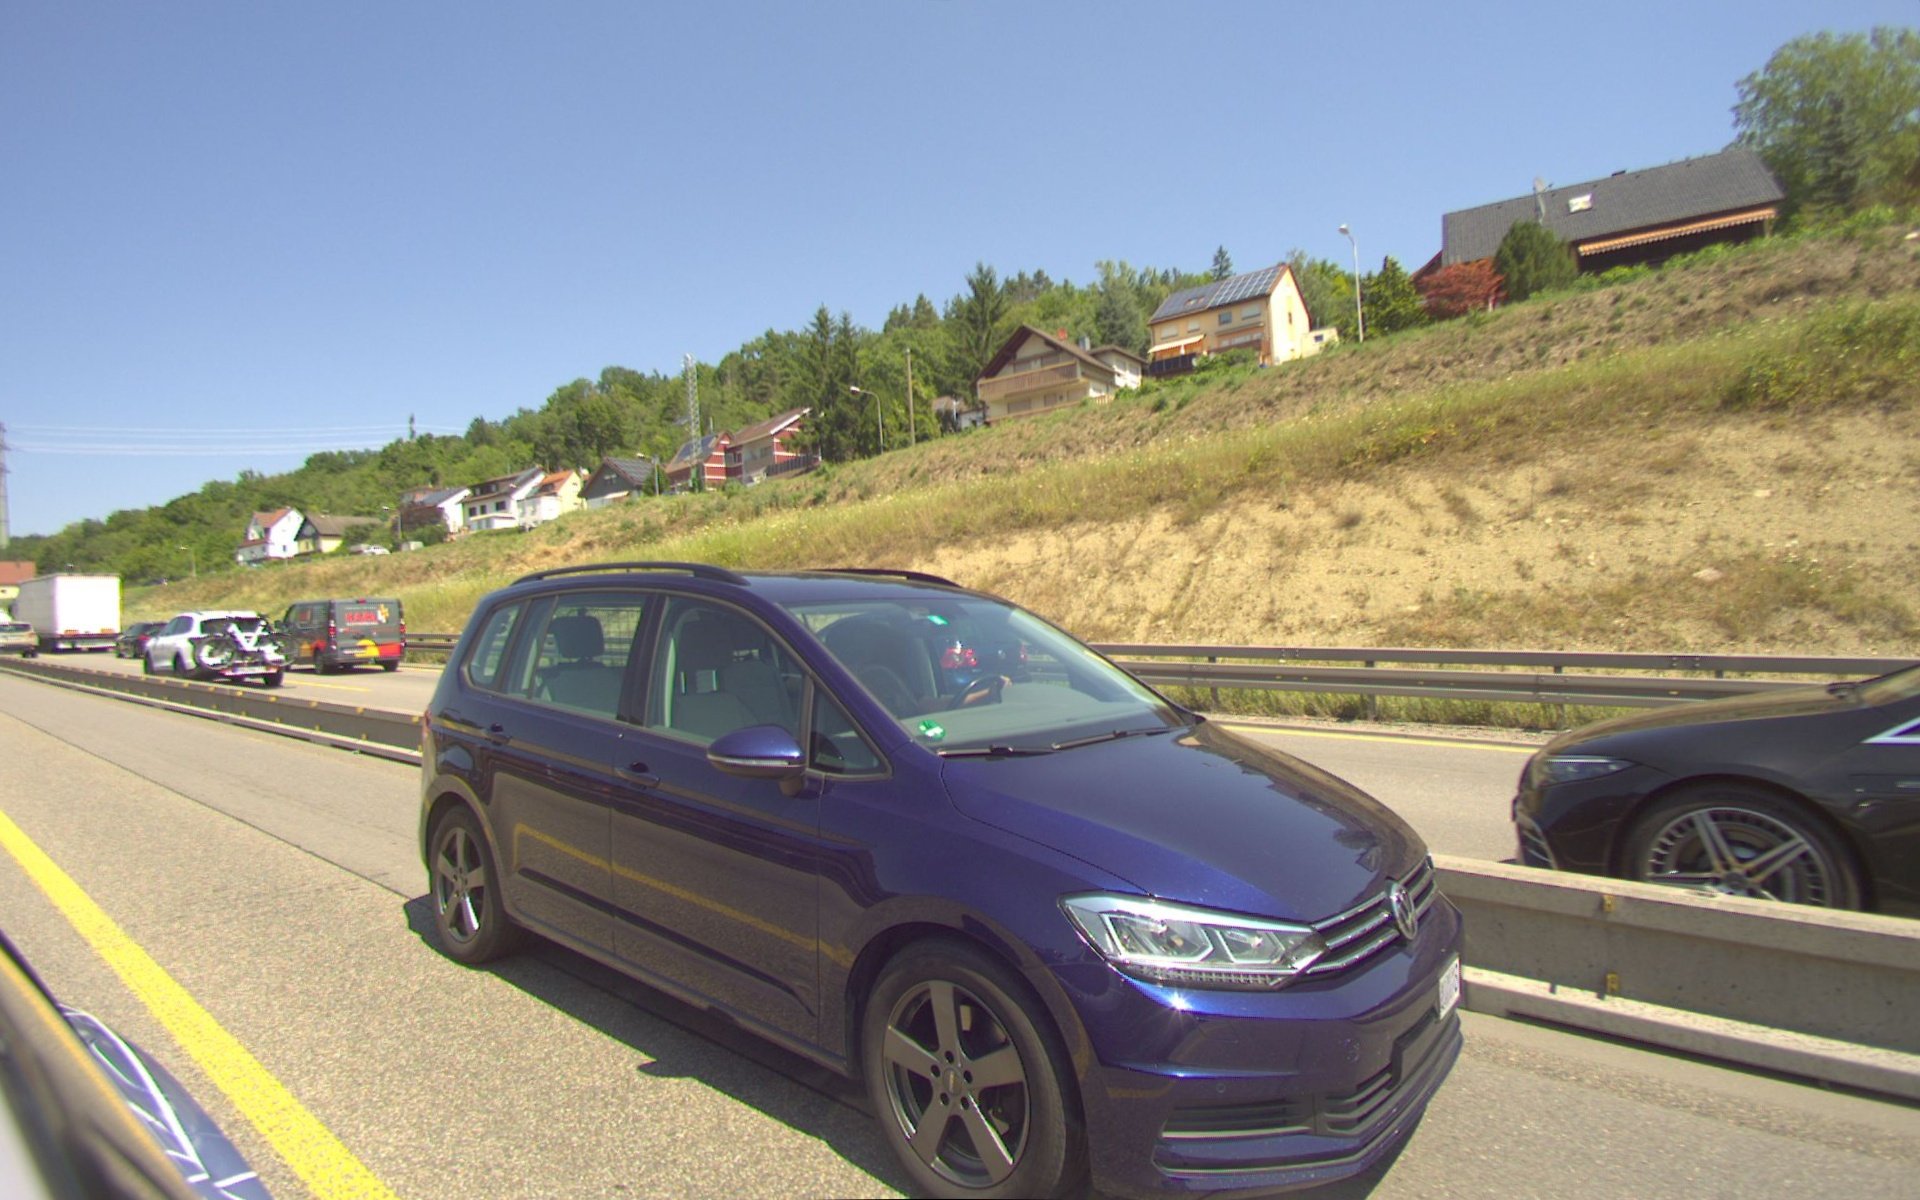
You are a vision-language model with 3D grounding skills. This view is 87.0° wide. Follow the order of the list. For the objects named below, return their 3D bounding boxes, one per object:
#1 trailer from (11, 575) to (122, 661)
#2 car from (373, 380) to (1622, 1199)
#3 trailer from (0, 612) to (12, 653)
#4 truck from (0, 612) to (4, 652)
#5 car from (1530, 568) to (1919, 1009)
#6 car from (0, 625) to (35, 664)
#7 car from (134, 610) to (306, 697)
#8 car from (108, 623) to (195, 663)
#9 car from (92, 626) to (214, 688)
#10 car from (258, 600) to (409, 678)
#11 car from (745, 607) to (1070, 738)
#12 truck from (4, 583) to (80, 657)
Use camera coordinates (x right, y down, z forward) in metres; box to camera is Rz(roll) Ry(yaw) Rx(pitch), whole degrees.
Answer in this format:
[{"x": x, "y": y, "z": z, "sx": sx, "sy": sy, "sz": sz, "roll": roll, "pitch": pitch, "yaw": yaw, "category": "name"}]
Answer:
[{"x": -48.749, "y": 1.040, "z": 54.987, "sx": 13.971, "sy": 4.213, "sz": 2.757, "roll": -2, "pitch": -1, "yaw": 41, "category": "trailer"}, {"x": -0.400, "y": 0.579, "z": 3.848, "sx": 4.649, "sy": 1.731, "sz": 1.757, "roll": -3, "pitch": -1, "yaw": 41, "category": "car"}, {"x": -75.077, "y": 2.537, "z": 77.795, "sx": 6.367, "sy": 3.023, "sz": 2.585, "roll": -2, "pitch": -1, "yaw": 41, "category": "trailer"}, {"x": -80.836, "y": 2.682, "z": 82.940, "sx": 8.954, "sy": 3.166, "sz": 2.698, "roll": -2, "pitch": -1, "yaw": 41, "category": "truck"}, {"x": 4.939, "y": 0.606, "z": 3.297, "sx": 5.087, "sy": 1.510, "sz": 1.935, "roll": -1, "pitch": 0, "yaw": 41, "category": "car"}, {"x": -42.993, "y": 1.961, "z": 45.335, "sx": 4.411, "sy": 1.679, "sz": 1.813, "roll": -1, "pitch": -1, "yaw": 41, "category": "car"}, {"x": -16.134, "y": 1.100, "z": 21.942, "sx": 5.367, "sy": 1.667, "sz": 1.820, "roll": -2, "pitch": -2, "yaw": 40, "category": "car"}, {"x": -33.275, "y": 1.726, "z": 41.601, "sx": 4.716, "sy": 1.518, "sz": 1.973, "roll": -1, "pitch": 0, "yaw": 41, "category": "car"}, {"x": -20.624, "y": 1.393, "z": 25.813, "sx": 4.240, "sy": 1.429, "sz": 1.692, "roll": -2, "pitch": -1, "yaw": 41, "category": "car"}, {"x": -17.082, "y": 1.038, "z": 27.478, "sx": 5.117, "sy": 1.941, "sz": 2.017, "roll": -2, "pitch": -2, "yaw": 40, "category": "car"}, {"x": -0.806, "y": 0.848, "z": 13.171, "sx": 4.240, "sy": 1.429, "sz": 1.692, "roll": -2, "pitch": -1, "yaw": 41, "category": "car"}, {"x": -54.257, "y": 1.179, "z": 59.788, "sx": 5.285, "sy": 4.213, "sz": 2.717, "roll": -2, "pitch": -1, "yaw": 41, "category": "truck"}]
